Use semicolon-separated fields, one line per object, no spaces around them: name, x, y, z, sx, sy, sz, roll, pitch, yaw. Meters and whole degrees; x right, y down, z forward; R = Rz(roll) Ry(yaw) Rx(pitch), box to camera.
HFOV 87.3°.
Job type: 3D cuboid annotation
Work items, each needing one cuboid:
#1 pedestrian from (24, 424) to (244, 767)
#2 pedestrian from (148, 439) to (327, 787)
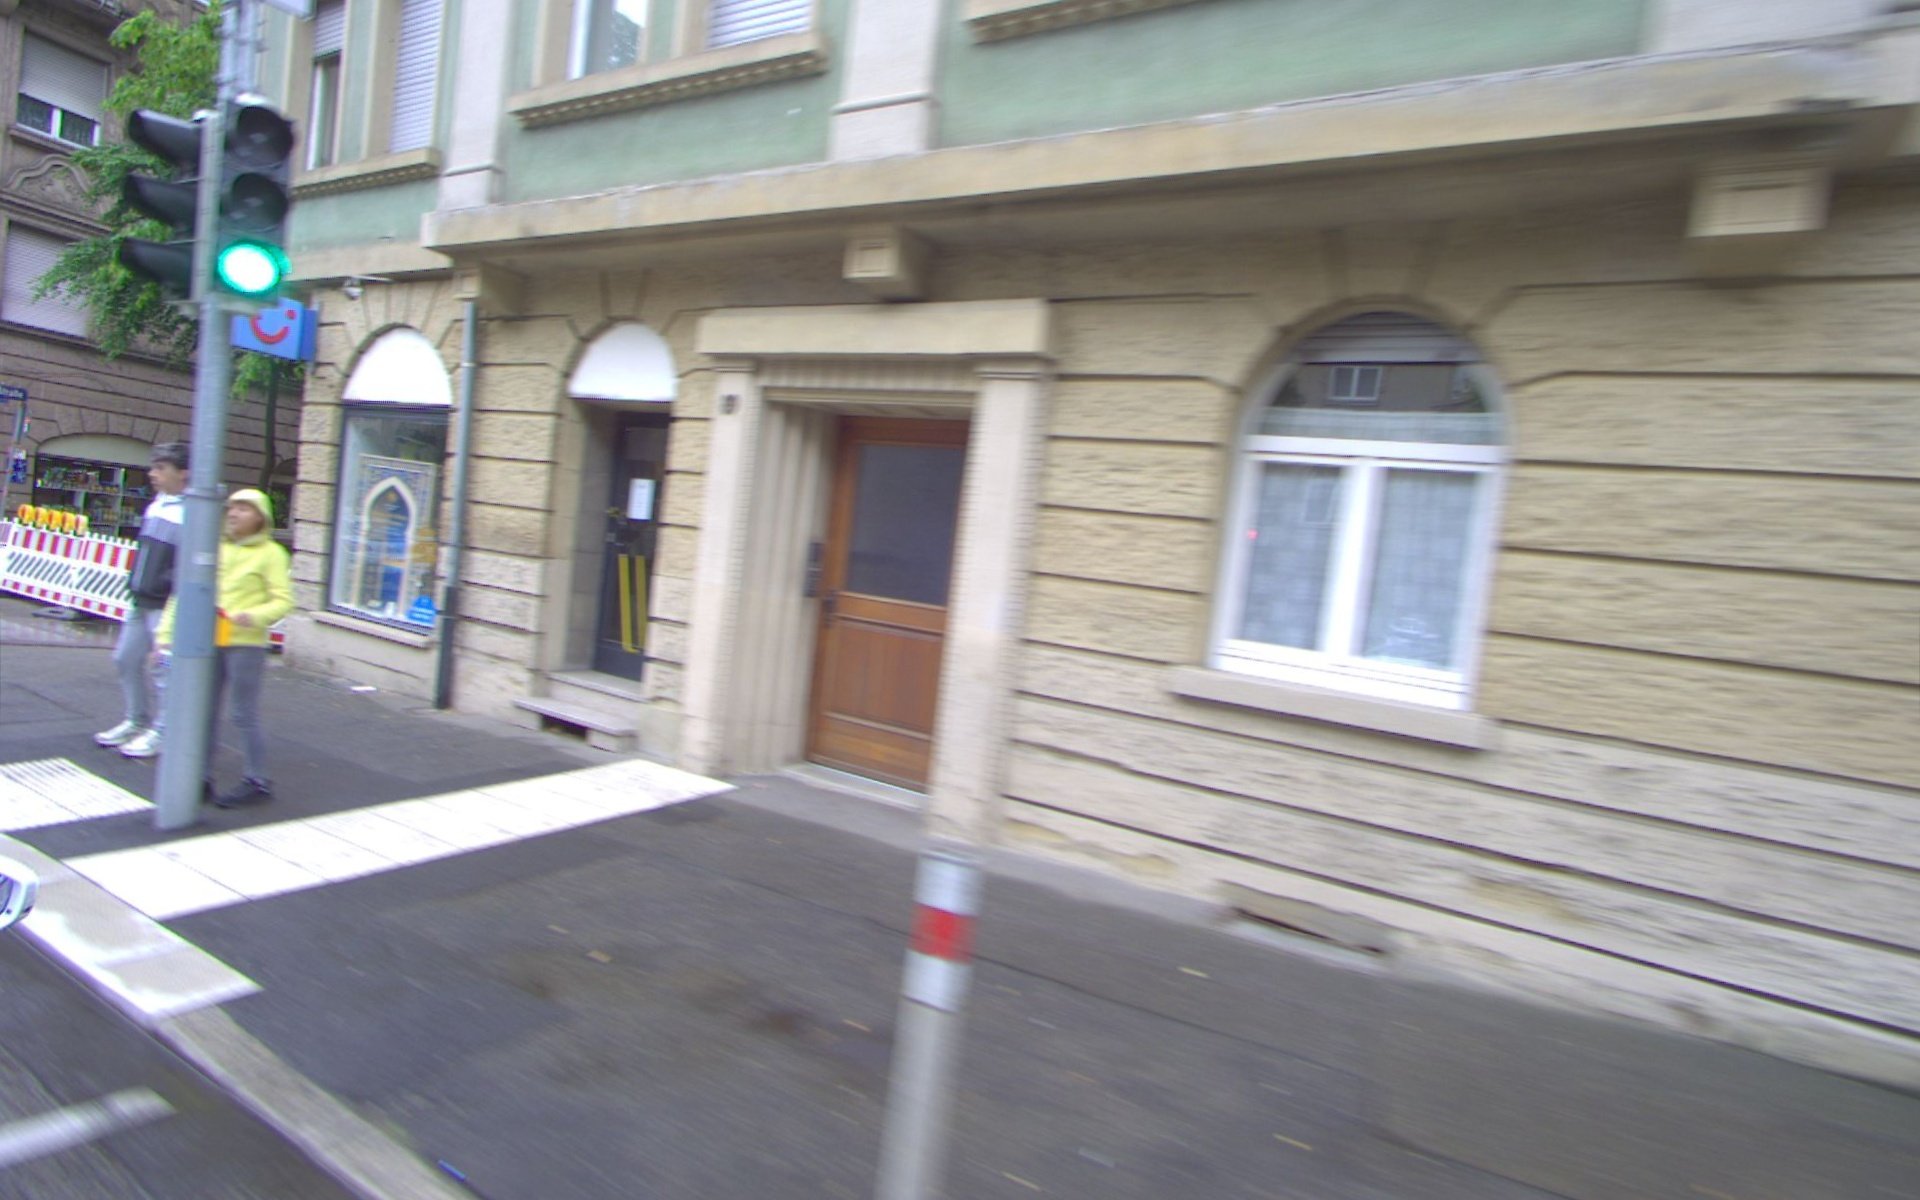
pedestrian;-4.734;-0.036;5.784;0.707;1.799;0.664;7;4;21
pedestrian;-3.598;0.061;5.055;0.591;1.607;0.660;3;4;-29
